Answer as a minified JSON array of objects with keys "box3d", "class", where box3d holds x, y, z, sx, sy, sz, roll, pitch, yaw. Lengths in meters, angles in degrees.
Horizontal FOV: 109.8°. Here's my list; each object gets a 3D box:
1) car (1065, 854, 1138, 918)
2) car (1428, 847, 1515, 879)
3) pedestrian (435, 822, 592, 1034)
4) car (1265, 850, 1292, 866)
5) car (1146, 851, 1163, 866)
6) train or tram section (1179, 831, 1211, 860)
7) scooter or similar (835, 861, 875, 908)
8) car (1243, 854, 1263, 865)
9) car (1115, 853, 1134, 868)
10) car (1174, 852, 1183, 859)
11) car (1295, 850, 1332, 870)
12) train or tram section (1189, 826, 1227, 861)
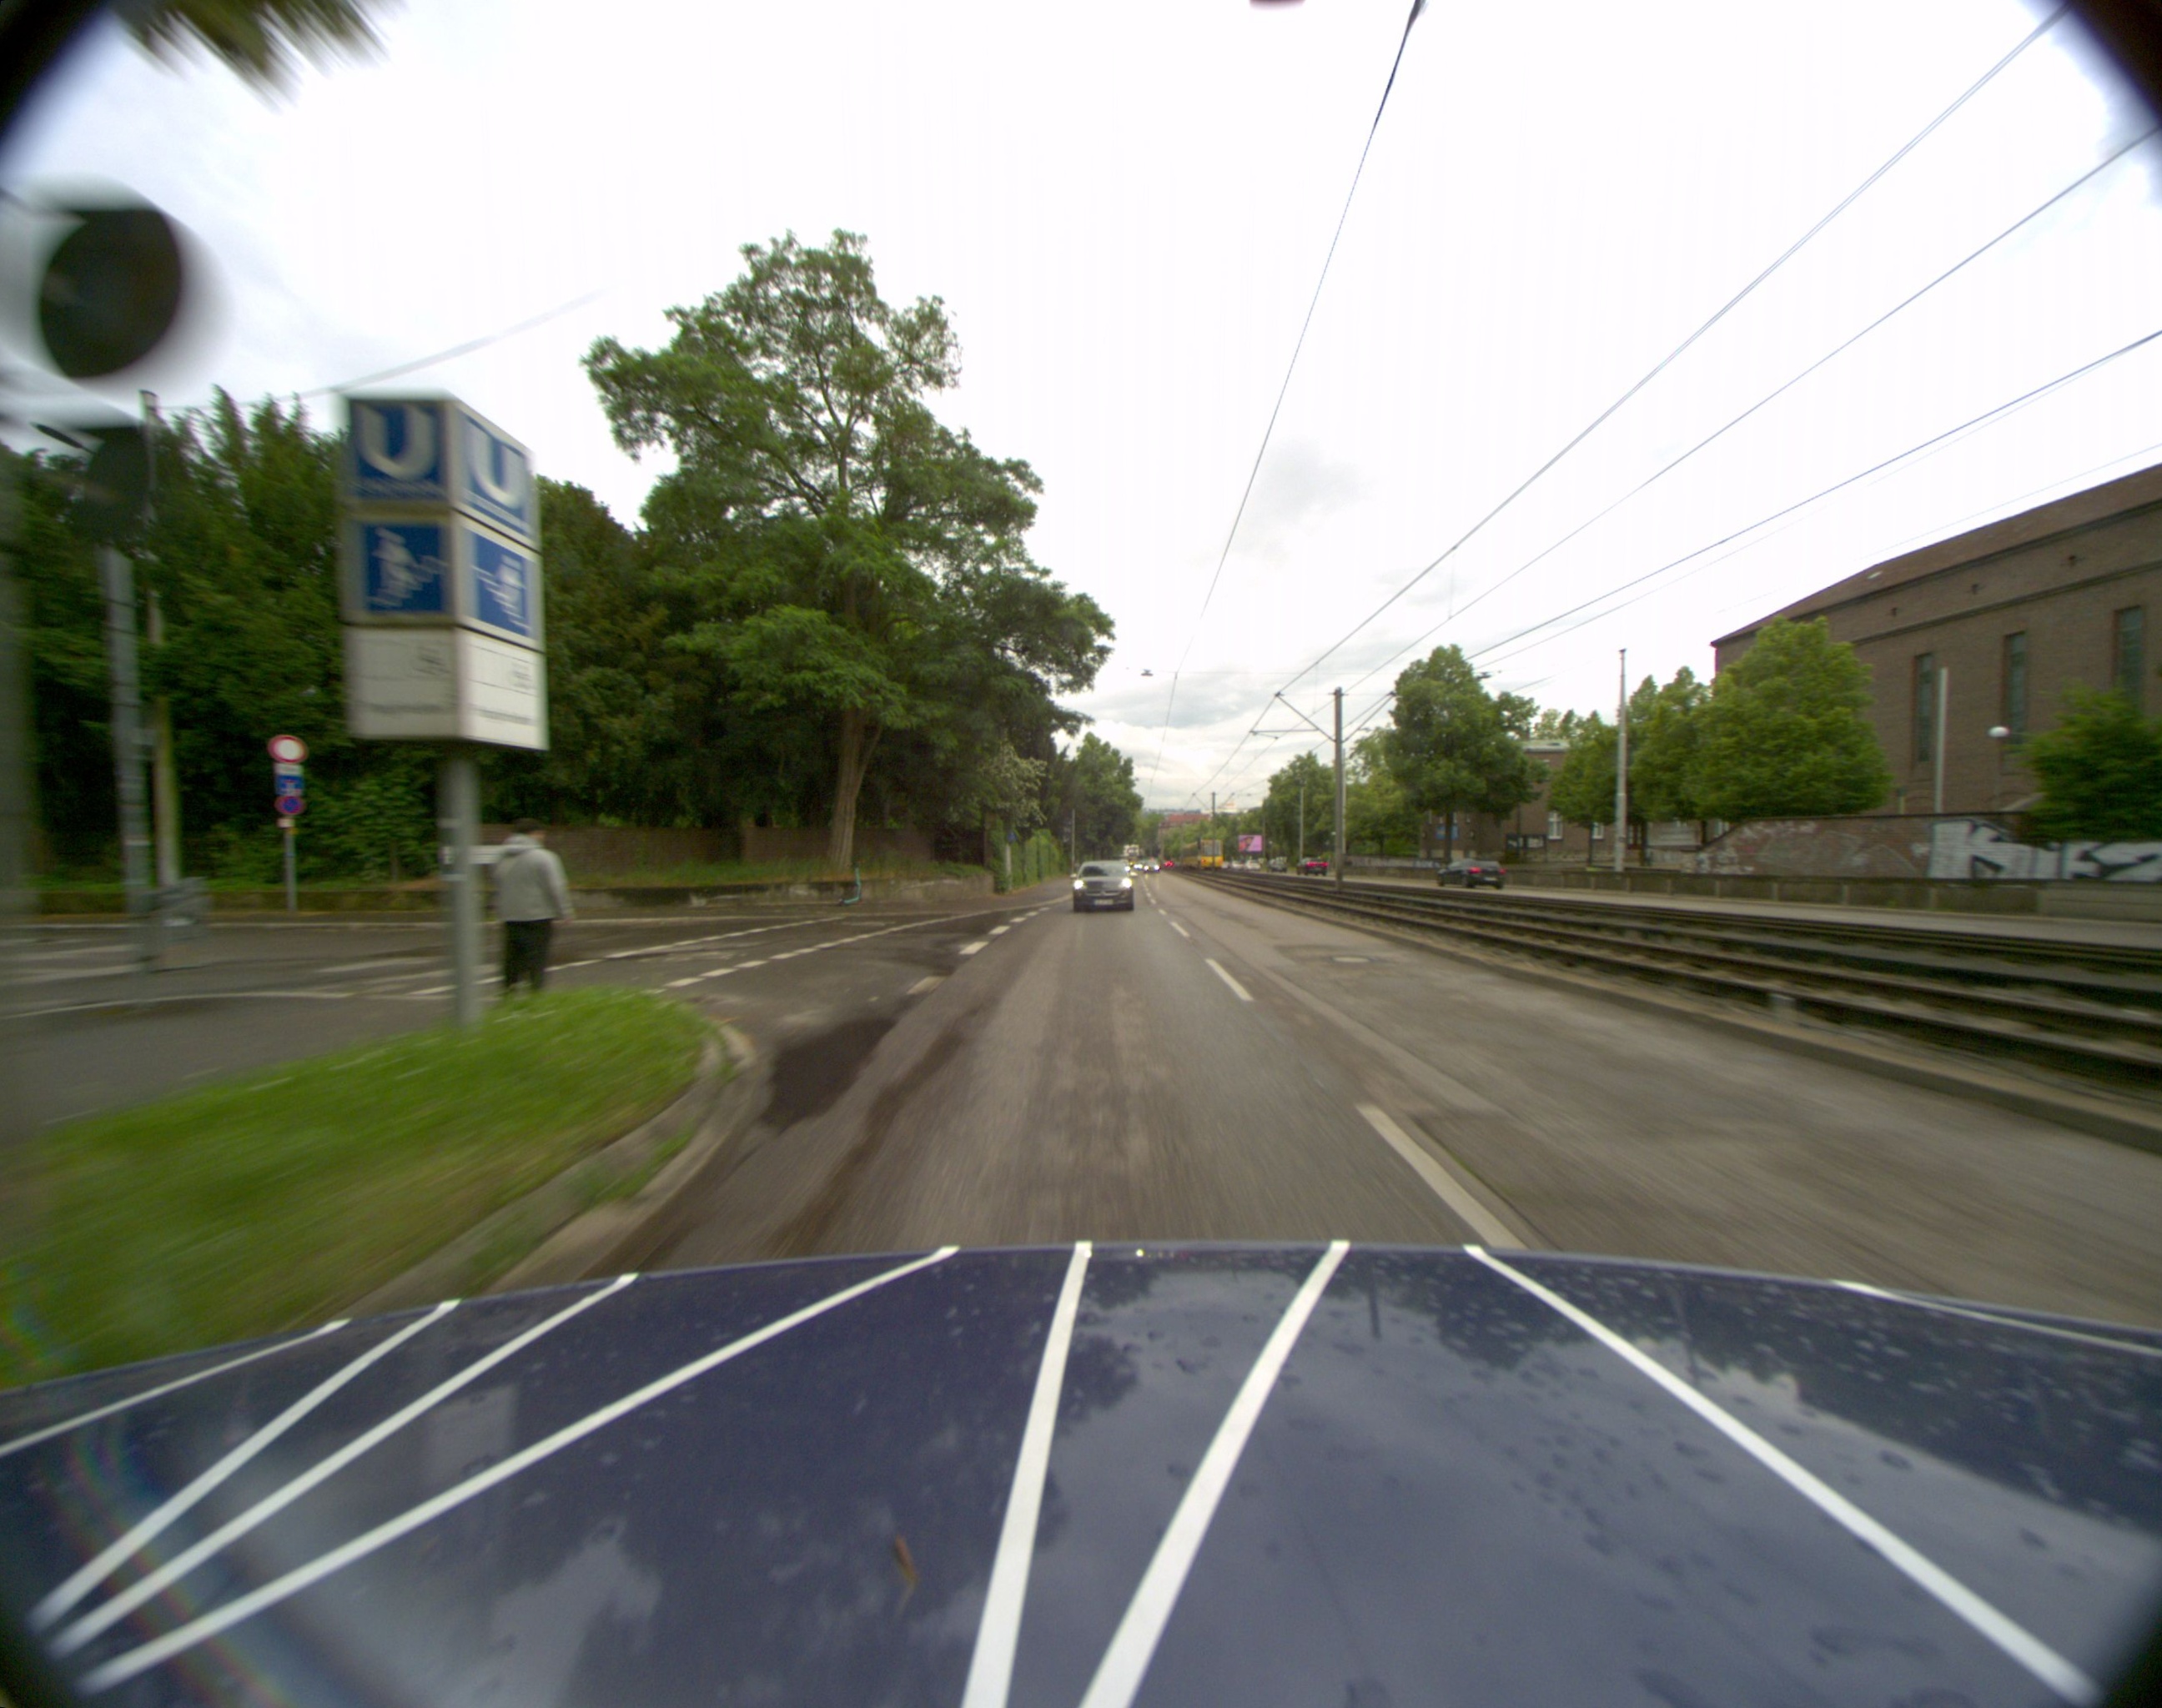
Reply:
[{"box3d":[0.671,0.820,21.457,1.745,1.544,4.495,-3,0,5],"class":"car"},{"box3d":[18.675,0.378,36.557,1.970,1.433,4.321,0,0,0],"class":"car"},{"box3d":[-5.175,0.648,6.978,0.857,1.843,0.737,-1,1,4],"class":"pedestrian"},{"box3d":[21.764,0.421,83.913,1.998,1.634,4.412,1,0,2],"class":"car"},{"box3d":[8.106,0.483,84.058,1.768,1.502,4.343,-1,0,6],"class":"car"},{"box3d":[17.052,-1.178,115.020,2.835,3.952,20.032,-1,0,3],"class":"train or tram section"},{"box3d":[-6.294,0.835,21.189,0.515,1.224,1.315,3,1,9],"class":"scooter or similar"},{"box3d":[22.865,0.696,101.210,1.751,1.459,3.985,2,0,2],"class":"car"},{"box3d":[4.625,0.666,81.836,1.769,1.502,4.340,-1,0,0],"class":"car"},{"box3d":[23.332,0.376,181.875,1.691,1.628,4.342,-1,0,3],"class":"car"},{"box3d":[20.548,0.519,67.335,1.998,1.634,4.525,1,0,2],"class":"car"},{"box3d":[15.950,-1.220,96.410,2.834,3.952,17.881,-1,0,4],"class":"train or tram section"}]
